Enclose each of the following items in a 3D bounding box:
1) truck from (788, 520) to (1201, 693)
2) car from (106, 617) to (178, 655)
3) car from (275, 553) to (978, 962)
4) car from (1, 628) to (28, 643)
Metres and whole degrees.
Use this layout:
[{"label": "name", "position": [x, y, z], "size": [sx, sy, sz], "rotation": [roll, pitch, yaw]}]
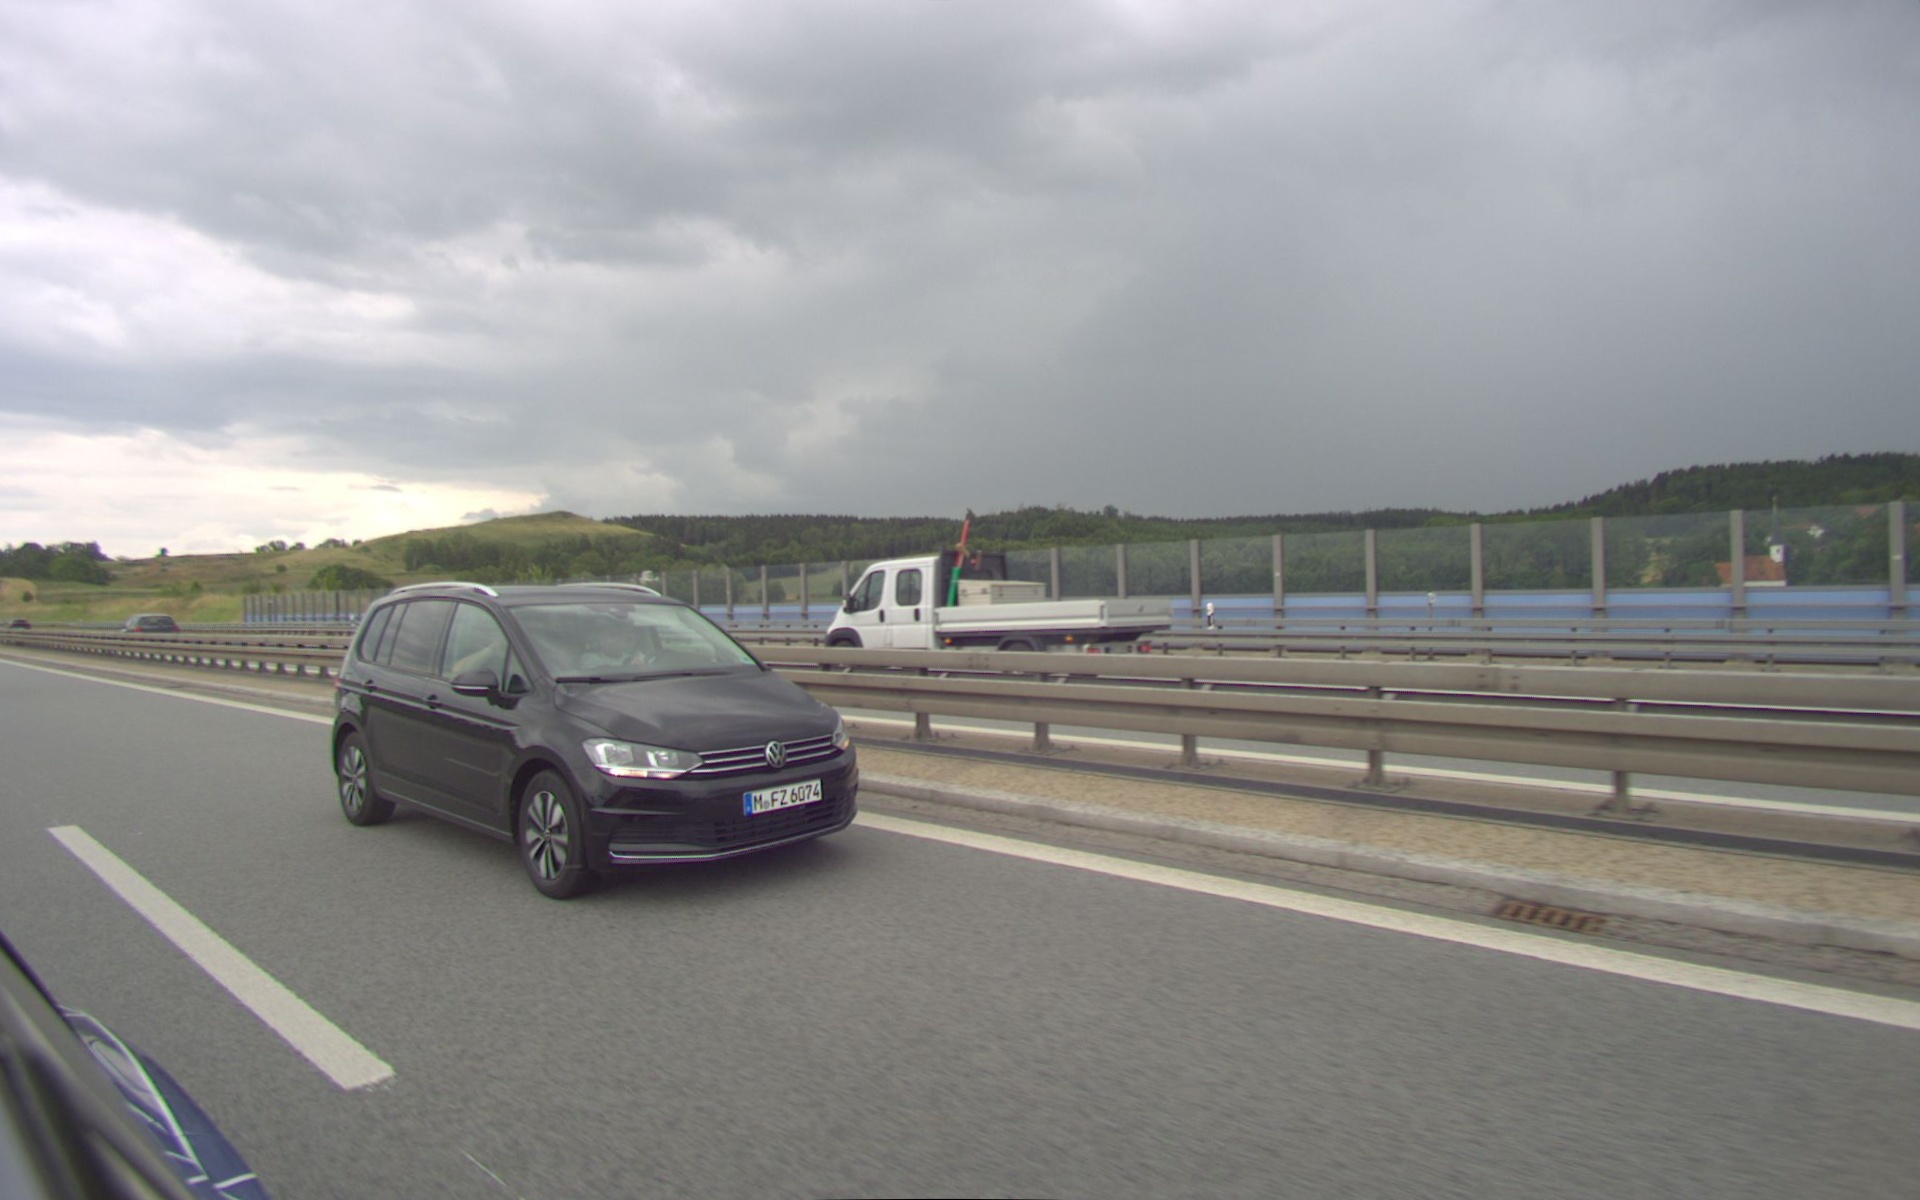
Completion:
[{"label": "truck", "position": [0.278, 0.160, 17.669], "size": [7.448, 2.450, 2.249], "rotation": [-2, -1, 41]}, {"label": "car", "position": [-35.196, 1.521, 43.503], "size": [3.998, 1.503, 1.736], "rotation": [-2, -1, 41]}, {"label": "car", "position": [-2.558, 0.696, 6.654], "size": [5.393, 1.683, 1.877], "rotation": [-2, -1, 41]}, {"label": "car", "position": [-95.729, 3.577, 102.435], "size": [3.998, 1.420, 1.614], "rotation": [-2, 0, 41]}]
